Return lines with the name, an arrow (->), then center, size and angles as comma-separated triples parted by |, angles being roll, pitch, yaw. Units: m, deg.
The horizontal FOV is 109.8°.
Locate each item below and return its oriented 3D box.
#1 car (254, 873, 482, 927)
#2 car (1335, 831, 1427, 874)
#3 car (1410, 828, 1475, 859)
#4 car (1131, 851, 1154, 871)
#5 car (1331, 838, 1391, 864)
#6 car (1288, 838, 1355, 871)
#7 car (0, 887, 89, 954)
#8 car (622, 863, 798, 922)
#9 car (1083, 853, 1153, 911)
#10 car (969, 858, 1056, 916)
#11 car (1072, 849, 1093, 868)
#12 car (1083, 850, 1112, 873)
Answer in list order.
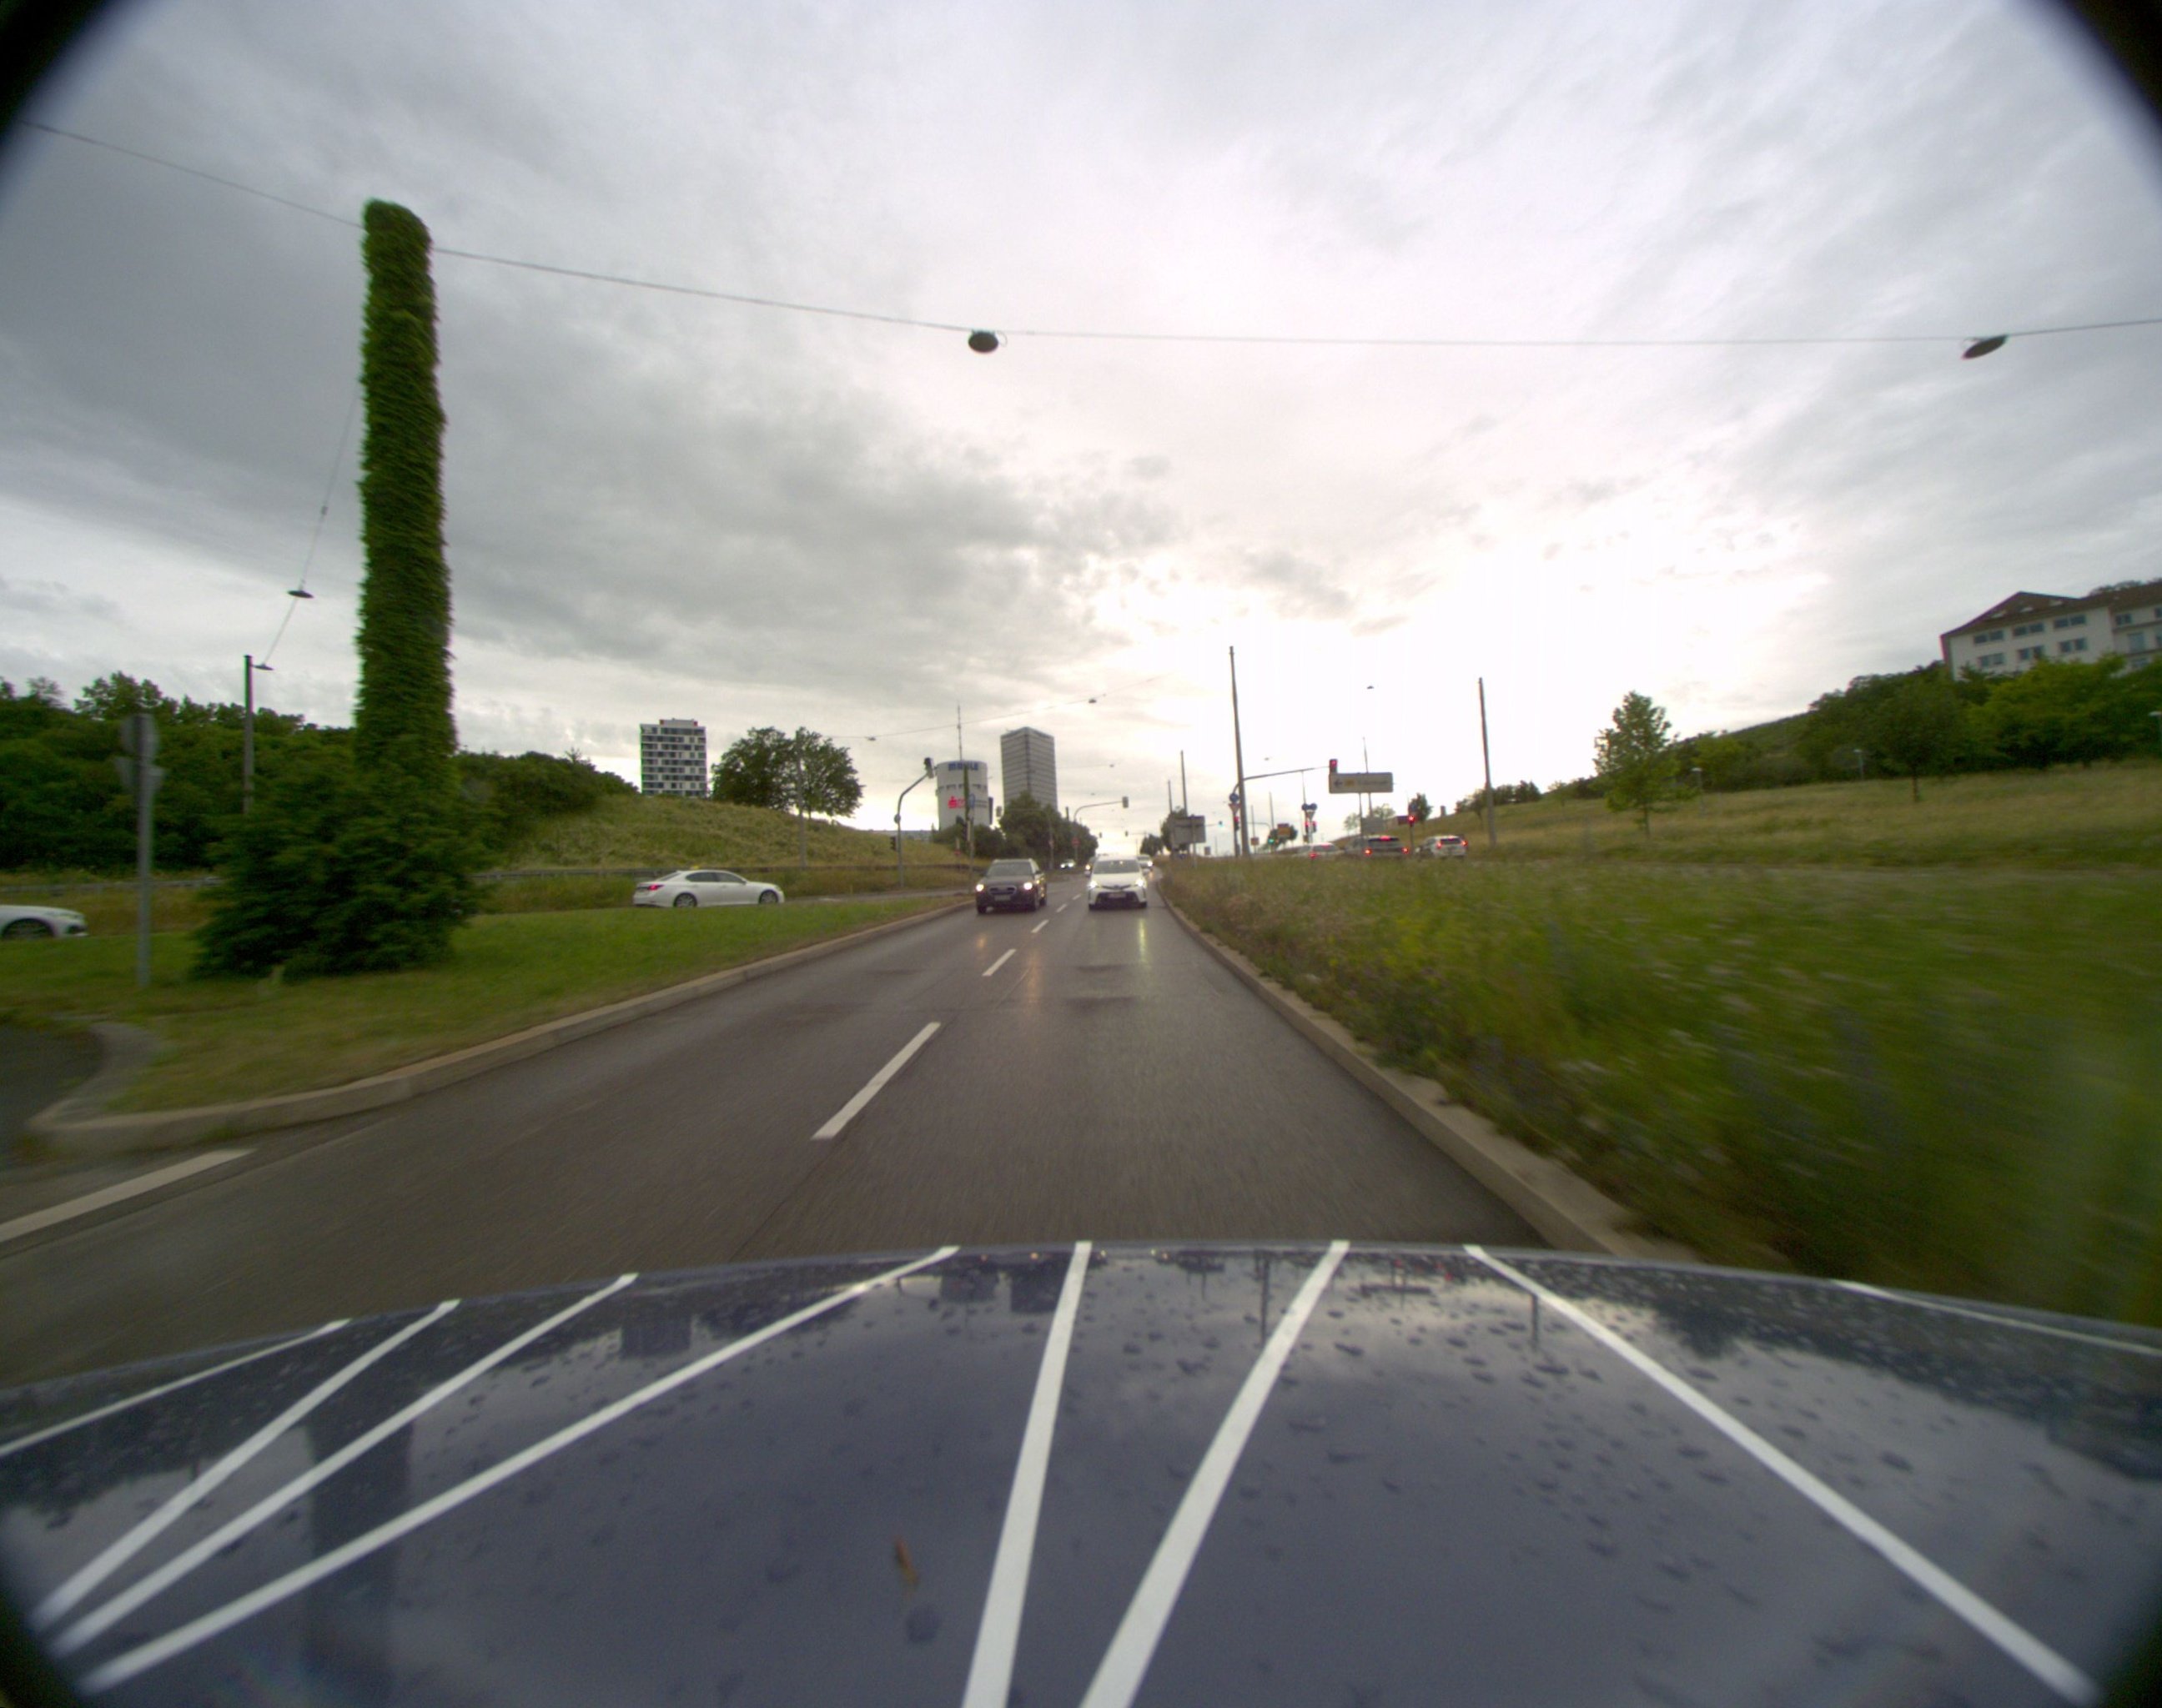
car -> -20.570, 1.276, 22.133 | 1.838, 1.342, 4.564 | -3, -2, 36
car -> 12.240, -0.050, 31.327 | 1.998, 1.503, 4.438 | -4, 0, 1
car -> 21.885, -0.602, 46.202 | 1.998, 1.634, 4.800 | -4, 0, 6
car -> 5.524, 0.687, 68.725 | 1.998, 1.761, 4.002 | 0, -1, 3
car -> 15.307, -0.157, 41.765 | 1.807, 1.299, 4.018 | -2, 0, 1
car -> 12.057, 0.030, 38.365 | 1.966, 1.414, 4.438 | -4, 0, 1
car -> -24.742, 1.491, 16.173 | 2.070, 1.419, 4.281 | -3, -2, 34
car -> -12.780, 1.267, 26.445 | 2.069, 1.636, 4.999 | -3, 0, 41
car -> 1.258, 0.810, 23.995 | 1.923, 1.604, 4.377 | -2, 0, 6
car -> -2.081, 0.967, 24.257 | 1.927, 1.591, 4.281 | -3, 0, 6
car -> 0.177, 0.473, 86.920 | 1.998, 2.002, 4.001 | -4, 0, 5
car -> 1.267, 0.533, 57.297 | 1.781, 1.591, 3.901 | -3, 0, 6
